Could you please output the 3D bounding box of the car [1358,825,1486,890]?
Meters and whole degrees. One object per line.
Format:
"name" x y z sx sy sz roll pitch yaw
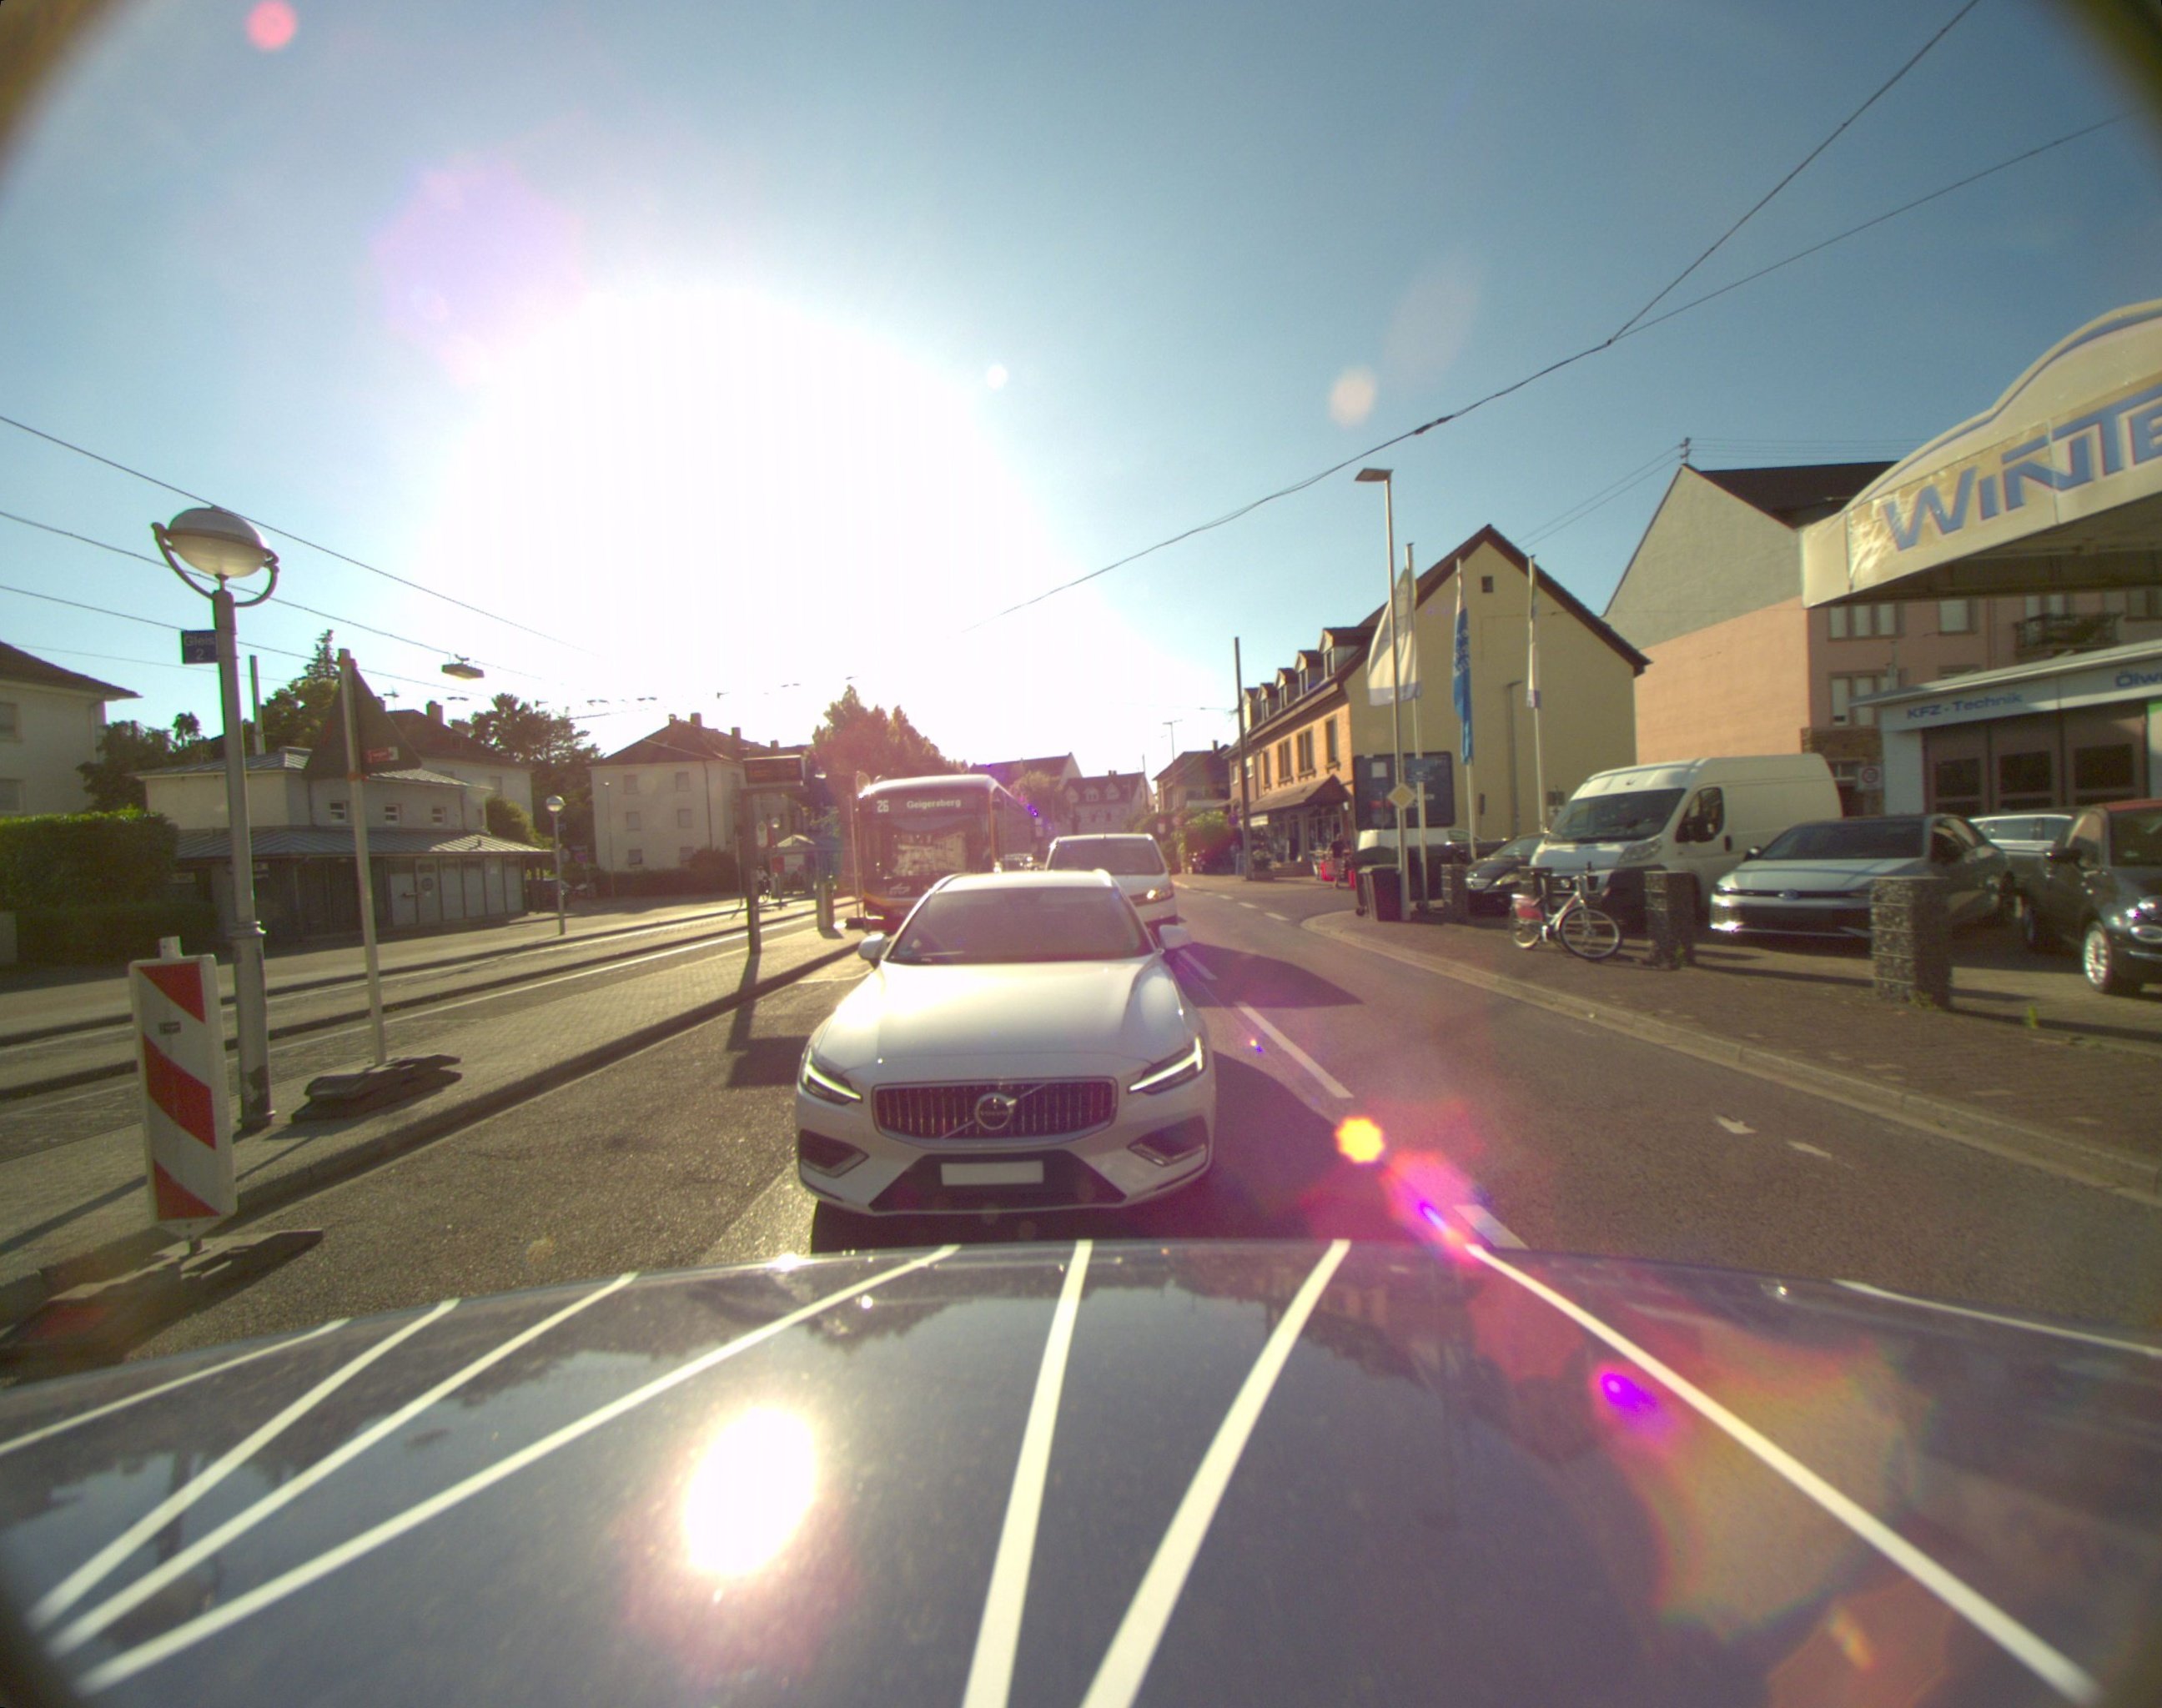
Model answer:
"car" 11.569 0.101 25.909 3.672 2.002 1.451 -2 1 -3

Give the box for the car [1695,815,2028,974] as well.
"car" 9.493 0.363 9.198 4.036 1.488 1.739 -3 1 -28

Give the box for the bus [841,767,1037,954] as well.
"bus" -2.916 0.096 19.821 2.748 3.284 12.030 -2 0 0

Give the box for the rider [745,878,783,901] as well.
"rider" -14.306 1.622 34.305 1.852 0.986 0.581 -2 1 32

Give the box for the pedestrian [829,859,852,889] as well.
"pedestrian" -13.327 1.105 42.128 0.844 1.601 0.823 -3 2 -42

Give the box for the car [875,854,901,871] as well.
"car" -23.253 1.016 91.761 1.998 1.853 3.999 -2 1 1

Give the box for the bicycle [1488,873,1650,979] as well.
"bicycle" 5.884 0.817 9.301 0.725 1.080 1.791 -3 1 -3

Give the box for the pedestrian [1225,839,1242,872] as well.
"pedestrian" 8.098 0.055 40.272 0.808 1.703 0.860 -2 1 13

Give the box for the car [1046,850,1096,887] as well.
"car" -0.387 0.584 33.249 1.969 1.450 4.824 -2 0 1

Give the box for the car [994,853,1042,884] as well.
"car" -3.224 0.707 39.877 1.969 1.450 4.824 -2 0 1

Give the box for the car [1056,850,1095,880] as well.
"car" -0.248 0.568 41.496 1.969 1.450 4.824 -2 0 1

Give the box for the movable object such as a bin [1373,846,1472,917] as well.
"movable object such as a bin" 7.596 0.582 16.901 1.798 1.456 1.046 -3 1 -25

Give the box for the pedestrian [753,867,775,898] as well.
"pedestrian" -14.311 1.298 34.289 0.657 1.373 0.581 -1 1 32

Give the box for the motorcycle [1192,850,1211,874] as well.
"motorcycle" 6.358 0.420 40.107 0.708 1.210 2.186 -2 1 3

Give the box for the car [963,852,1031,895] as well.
"car" -3.147 0.707 29.488 1.969 1.450 4.824 -2 0 1

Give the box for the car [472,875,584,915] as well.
"car" -27.683 2.045 38.128 4.052 1.663 2.000 -4 1 2

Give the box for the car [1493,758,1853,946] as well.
"car" 9.146 -0.131 11.748 4.997 2.440 2.111 -3 1 -22

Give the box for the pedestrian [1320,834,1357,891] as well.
"pedestrian" 8.642 0.275 25.482 0.824 1.842 0.765 -3 1 -23

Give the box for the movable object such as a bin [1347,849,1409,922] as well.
"movable object such as a bin" 6.239 0.644 15.938 1.045 1.456 0.797 -2 1 32

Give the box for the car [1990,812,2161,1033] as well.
"car" 9.079 0.415 6.152 1.590 1.488 3.442 -2 1 40

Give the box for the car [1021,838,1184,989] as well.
"car" 0.306 0.736 11.998 1.969 1.816 5.033 -2 0 1

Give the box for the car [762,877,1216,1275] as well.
"car" -0.350 0.984 5.244 1.821 1.446 4.217 -2 0 1

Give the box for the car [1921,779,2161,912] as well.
"car" 16.484 -0.169 11.975 1.742 1.933 4.257 -3 1 -1

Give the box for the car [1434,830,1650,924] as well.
"car" 8.970 0.377 14.734 4.036 1.469 1.739 -3 1 -28

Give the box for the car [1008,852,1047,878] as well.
"car" -3.266 0.632 47.292 1.969 1.450 4.824 -2 0 1
